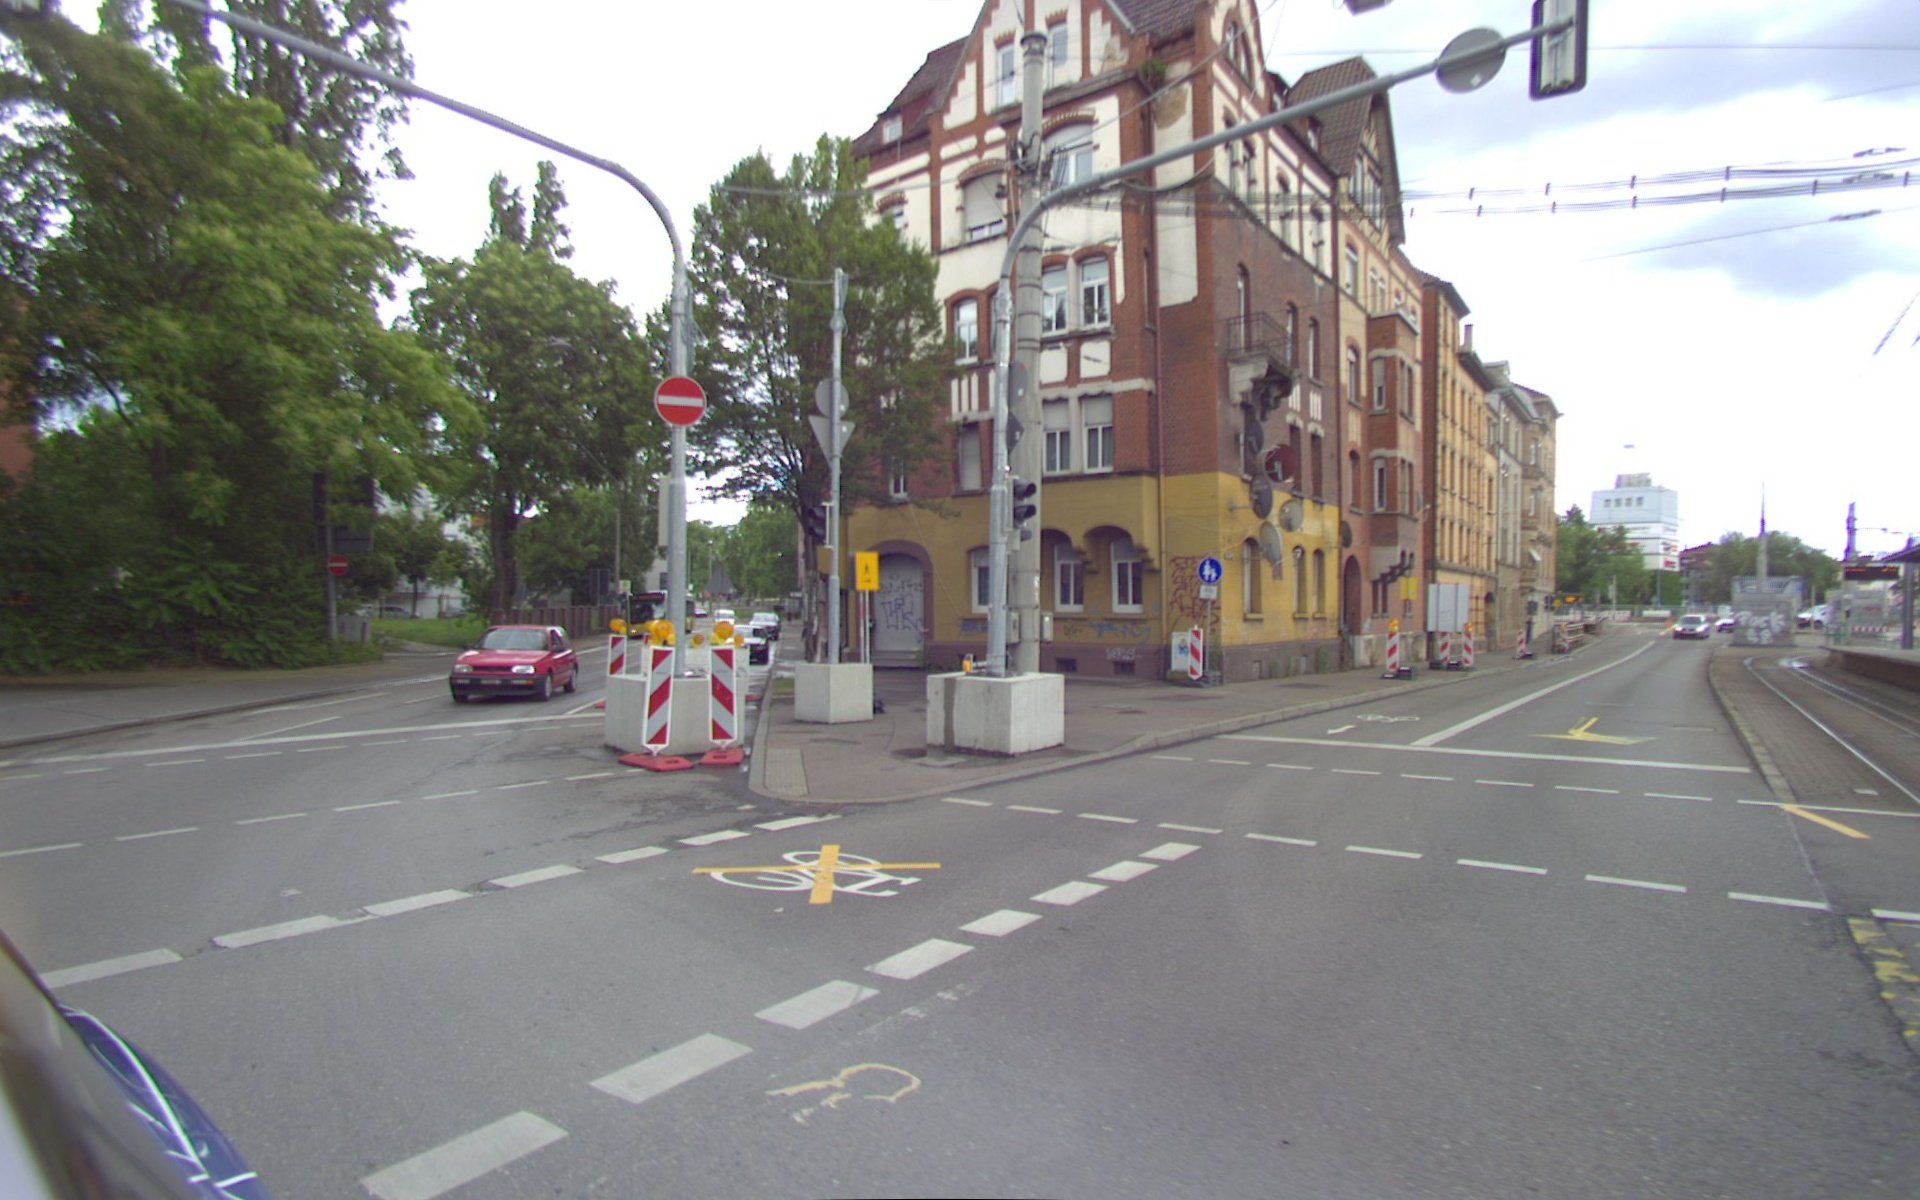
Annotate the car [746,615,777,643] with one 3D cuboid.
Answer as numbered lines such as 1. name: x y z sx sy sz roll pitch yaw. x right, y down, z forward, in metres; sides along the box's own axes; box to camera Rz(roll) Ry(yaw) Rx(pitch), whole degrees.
1. car: -12.851 1.887 65.758 1.928 1.747 4.784 0 -1 -10

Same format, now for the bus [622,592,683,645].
1. bus: -20.194 1.165 66.917 2.637 3.162 9.236 -2 0 -10

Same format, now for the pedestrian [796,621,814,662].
1. pedestrian: -6.224 1.649 40.675 0.651 1.622 0.634 -2 -1 -9

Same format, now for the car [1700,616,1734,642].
1. car: 58.199 2.229 77.852 1.997 1.674 3.951 1 3 37

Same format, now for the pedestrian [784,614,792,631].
1. pedestrian: -18.984 2.492 111.575 0.751 1.757 0.987 -2 -1 -12

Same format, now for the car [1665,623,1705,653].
1. car: 50.467 2.629 70.449 1.998 1.674 3.948 1 3 39

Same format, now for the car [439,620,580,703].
1. car: -8.633 1.123 19.757 1.820 1.433 4.184 2 -2 -15

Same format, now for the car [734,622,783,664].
1. car: -7.819 1.678 39.517 1.703 1.497 4.398 0 -2 -9

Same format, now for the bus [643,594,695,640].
1. bus: -21.865 1.253 76.428 2.628 3.160 10.060 -2 0 -10

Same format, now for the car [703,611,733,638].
1. car: -20.237 2.009 84.697 2.041 1.798 4.467 -2 3 -8

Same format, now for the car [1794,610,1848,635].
1. car: 69.676 1.796 81.914 3.931 1.674 2.007 -2 3 -28
